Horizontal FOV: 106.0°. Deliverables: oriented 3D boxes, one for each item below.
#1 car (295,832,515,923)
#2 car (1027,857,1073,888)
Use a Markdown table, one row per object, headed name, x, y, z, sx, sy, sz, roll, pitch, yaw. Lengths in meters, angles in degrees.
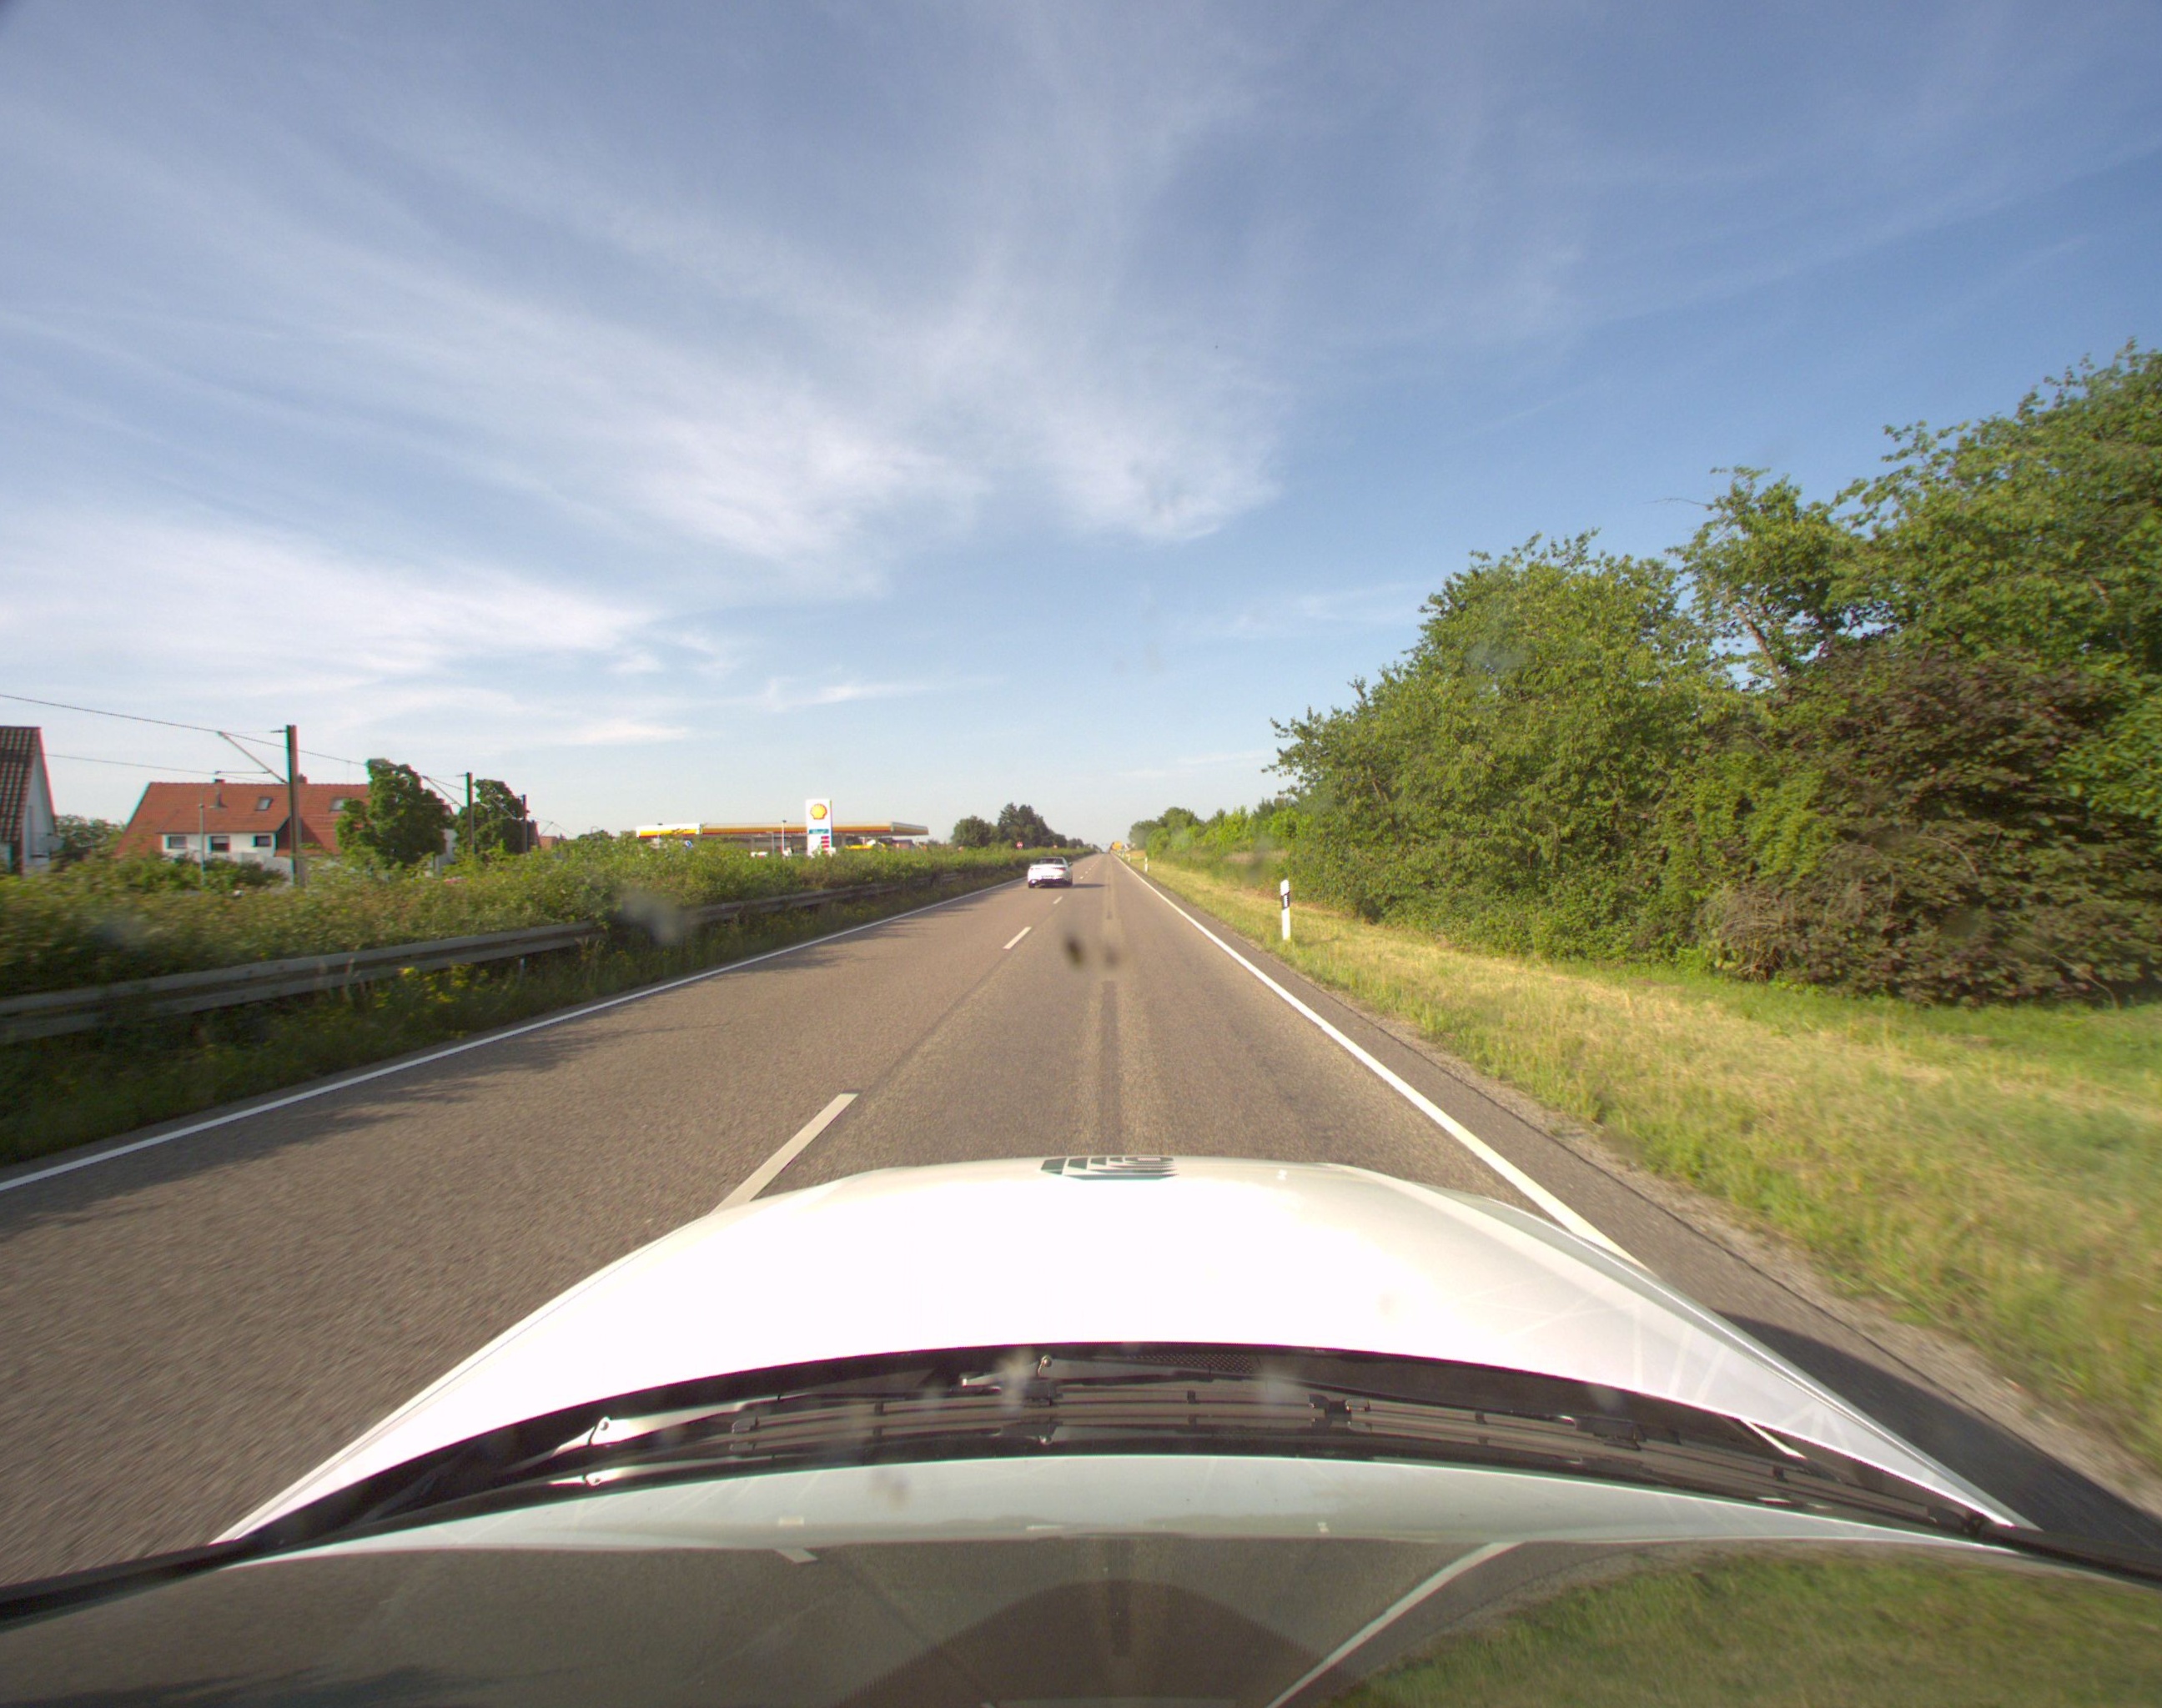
| name | x | y | z | sx | sy | sz | roll | pitch | yaw |
| --- | --- | --- | --- | --- | --- | --- | --- | --- | --- |
| car | -16.363 | 0.522 | 20.048 | 1.986 | 2.014 | 4.001 | 0 | 0 | 2 |
| car | -1.364 | 0.810 | 37.935 | 1.764 | 1.337 | 4.952 | 0 | 0 | 2 |
